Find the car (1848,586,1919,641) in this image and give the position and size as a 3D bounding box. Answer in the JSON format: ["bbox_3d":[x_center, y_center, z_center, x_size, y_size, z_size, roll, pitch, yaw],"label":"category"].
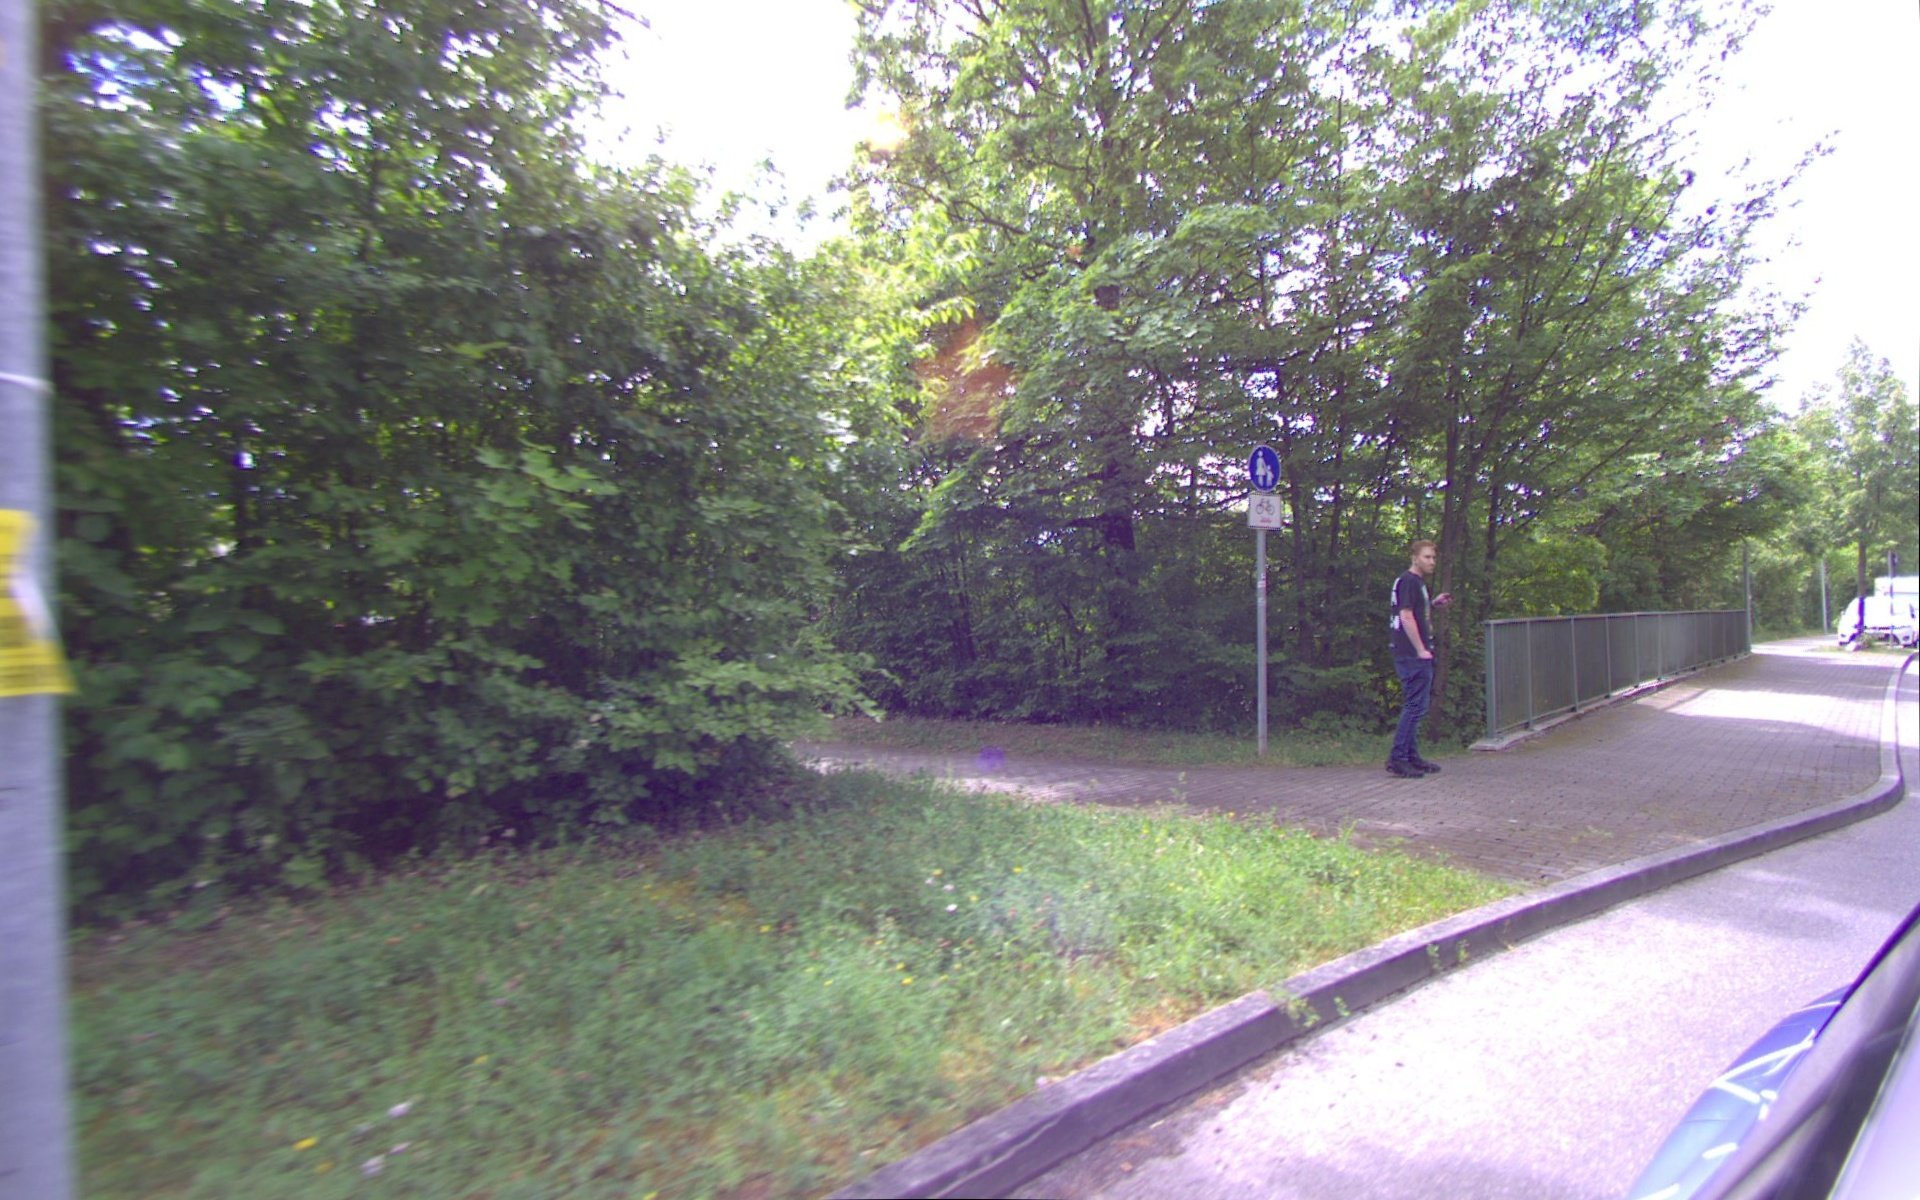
[{"bbox_3d":[29.805,0.393,32.336,4.299,1.620,1.806,0,2,-44],"label":"car"}]

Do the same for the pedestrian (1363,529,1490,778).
[{"bbox_3d":[3.583,0.383,7.791,0.577,1.805,0.683,0,0,-31],"label":"pedestrian"}]

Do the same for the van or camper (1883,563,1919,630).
[{"bbox_3d":[39.362,-0.154,41.041,4.988,2.585,2.358,-1,2,-42],"label":"van or camper"}]
